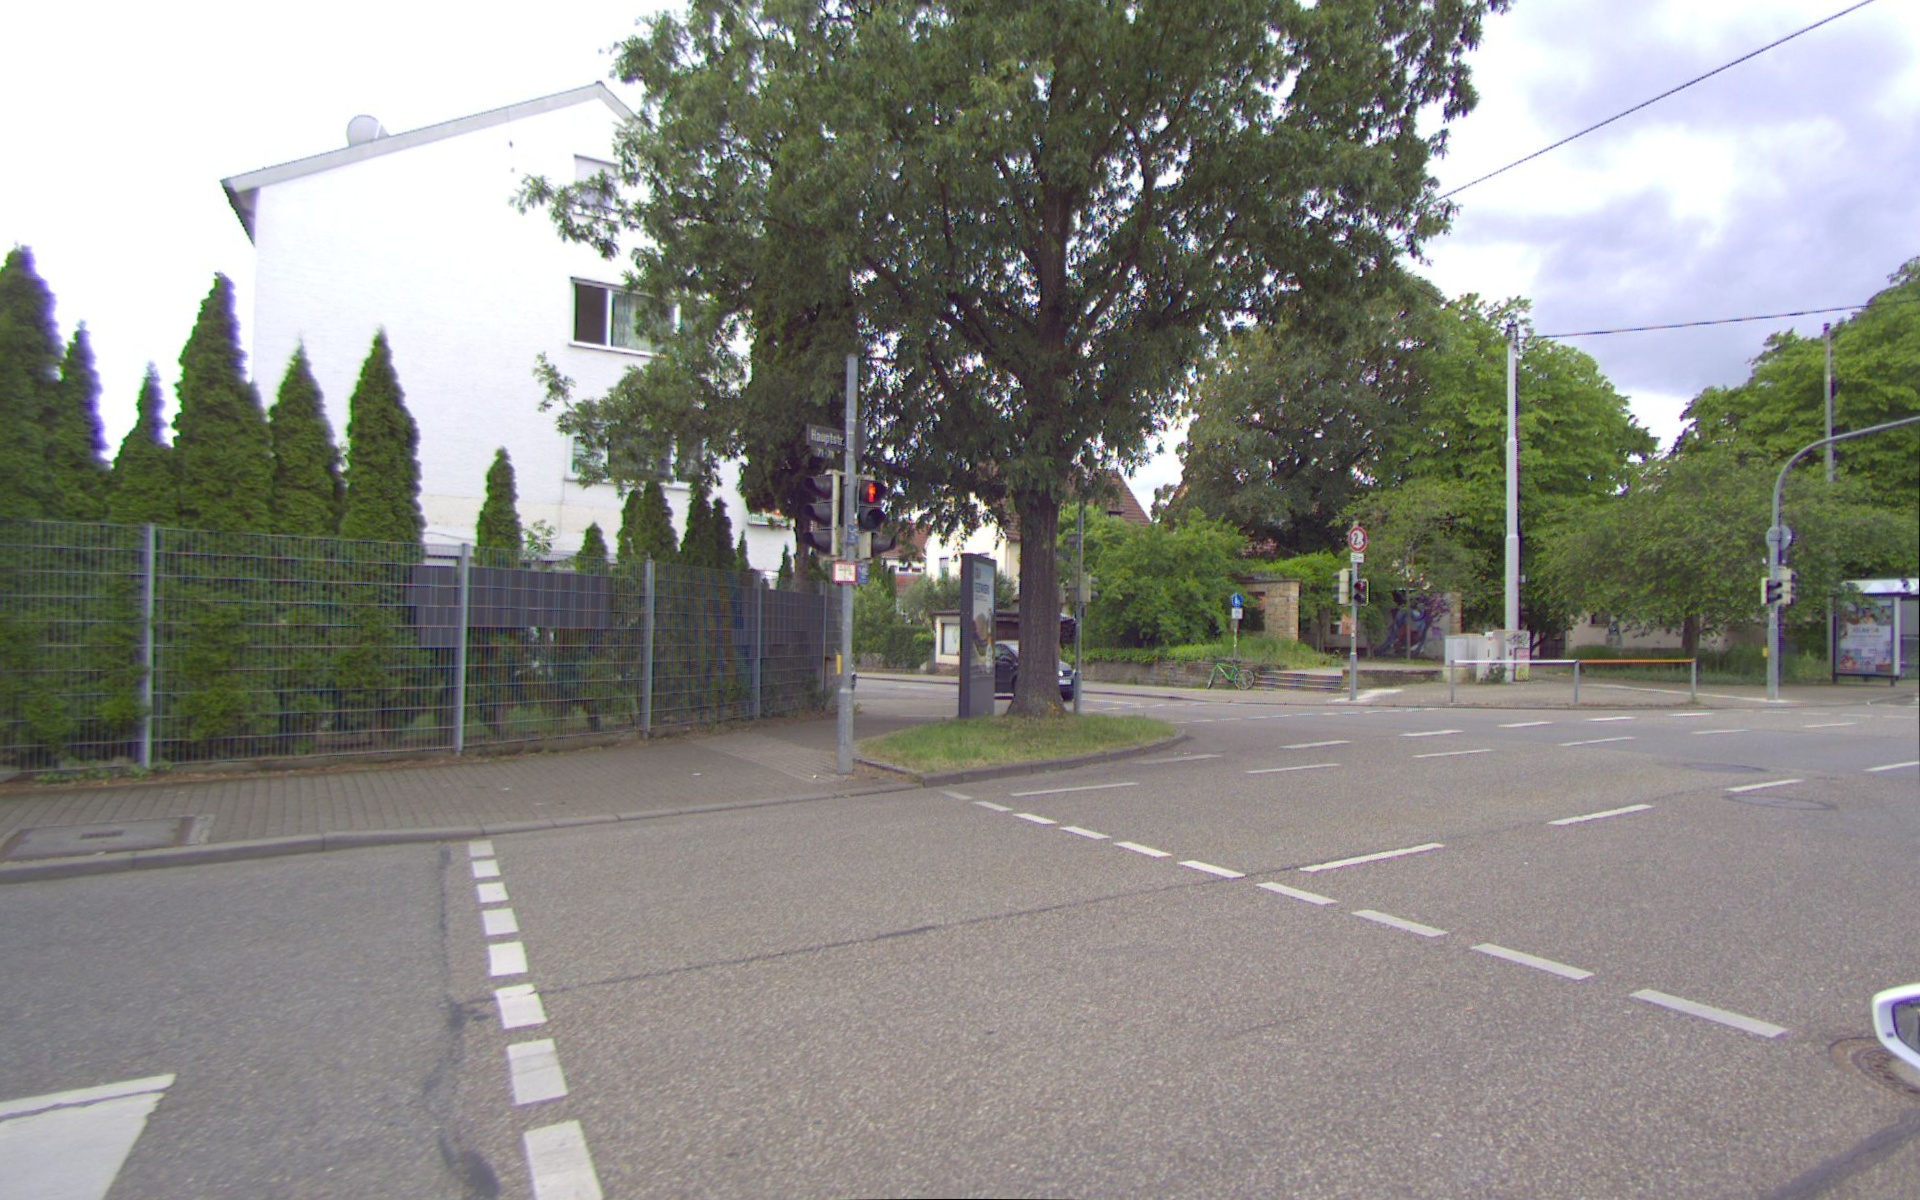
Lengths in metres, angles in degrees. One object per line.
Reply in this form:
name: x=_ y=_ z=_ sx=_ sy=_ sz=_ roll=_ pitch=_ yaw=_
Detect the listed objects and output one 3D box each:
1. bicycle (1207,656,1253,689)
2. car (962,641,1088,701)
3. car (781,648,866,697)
bicycle: x=8.120 y=2.198 z=30.244 sx=0.422 sy=0.954 sz=1.303 roll=2 pitch=-5 yaw=-39
car: x=1.612 y=1.834 z=26.198 sx=1.748 sy=1.416 sz=3.625 roll=0 pitch=-4 yaw=-25
car: x=-4.529 y=2.332 z=32.910 sx=1.733 sy=1.417 sz=3.624 roll=-1 pitch=-2 yaw=-25
